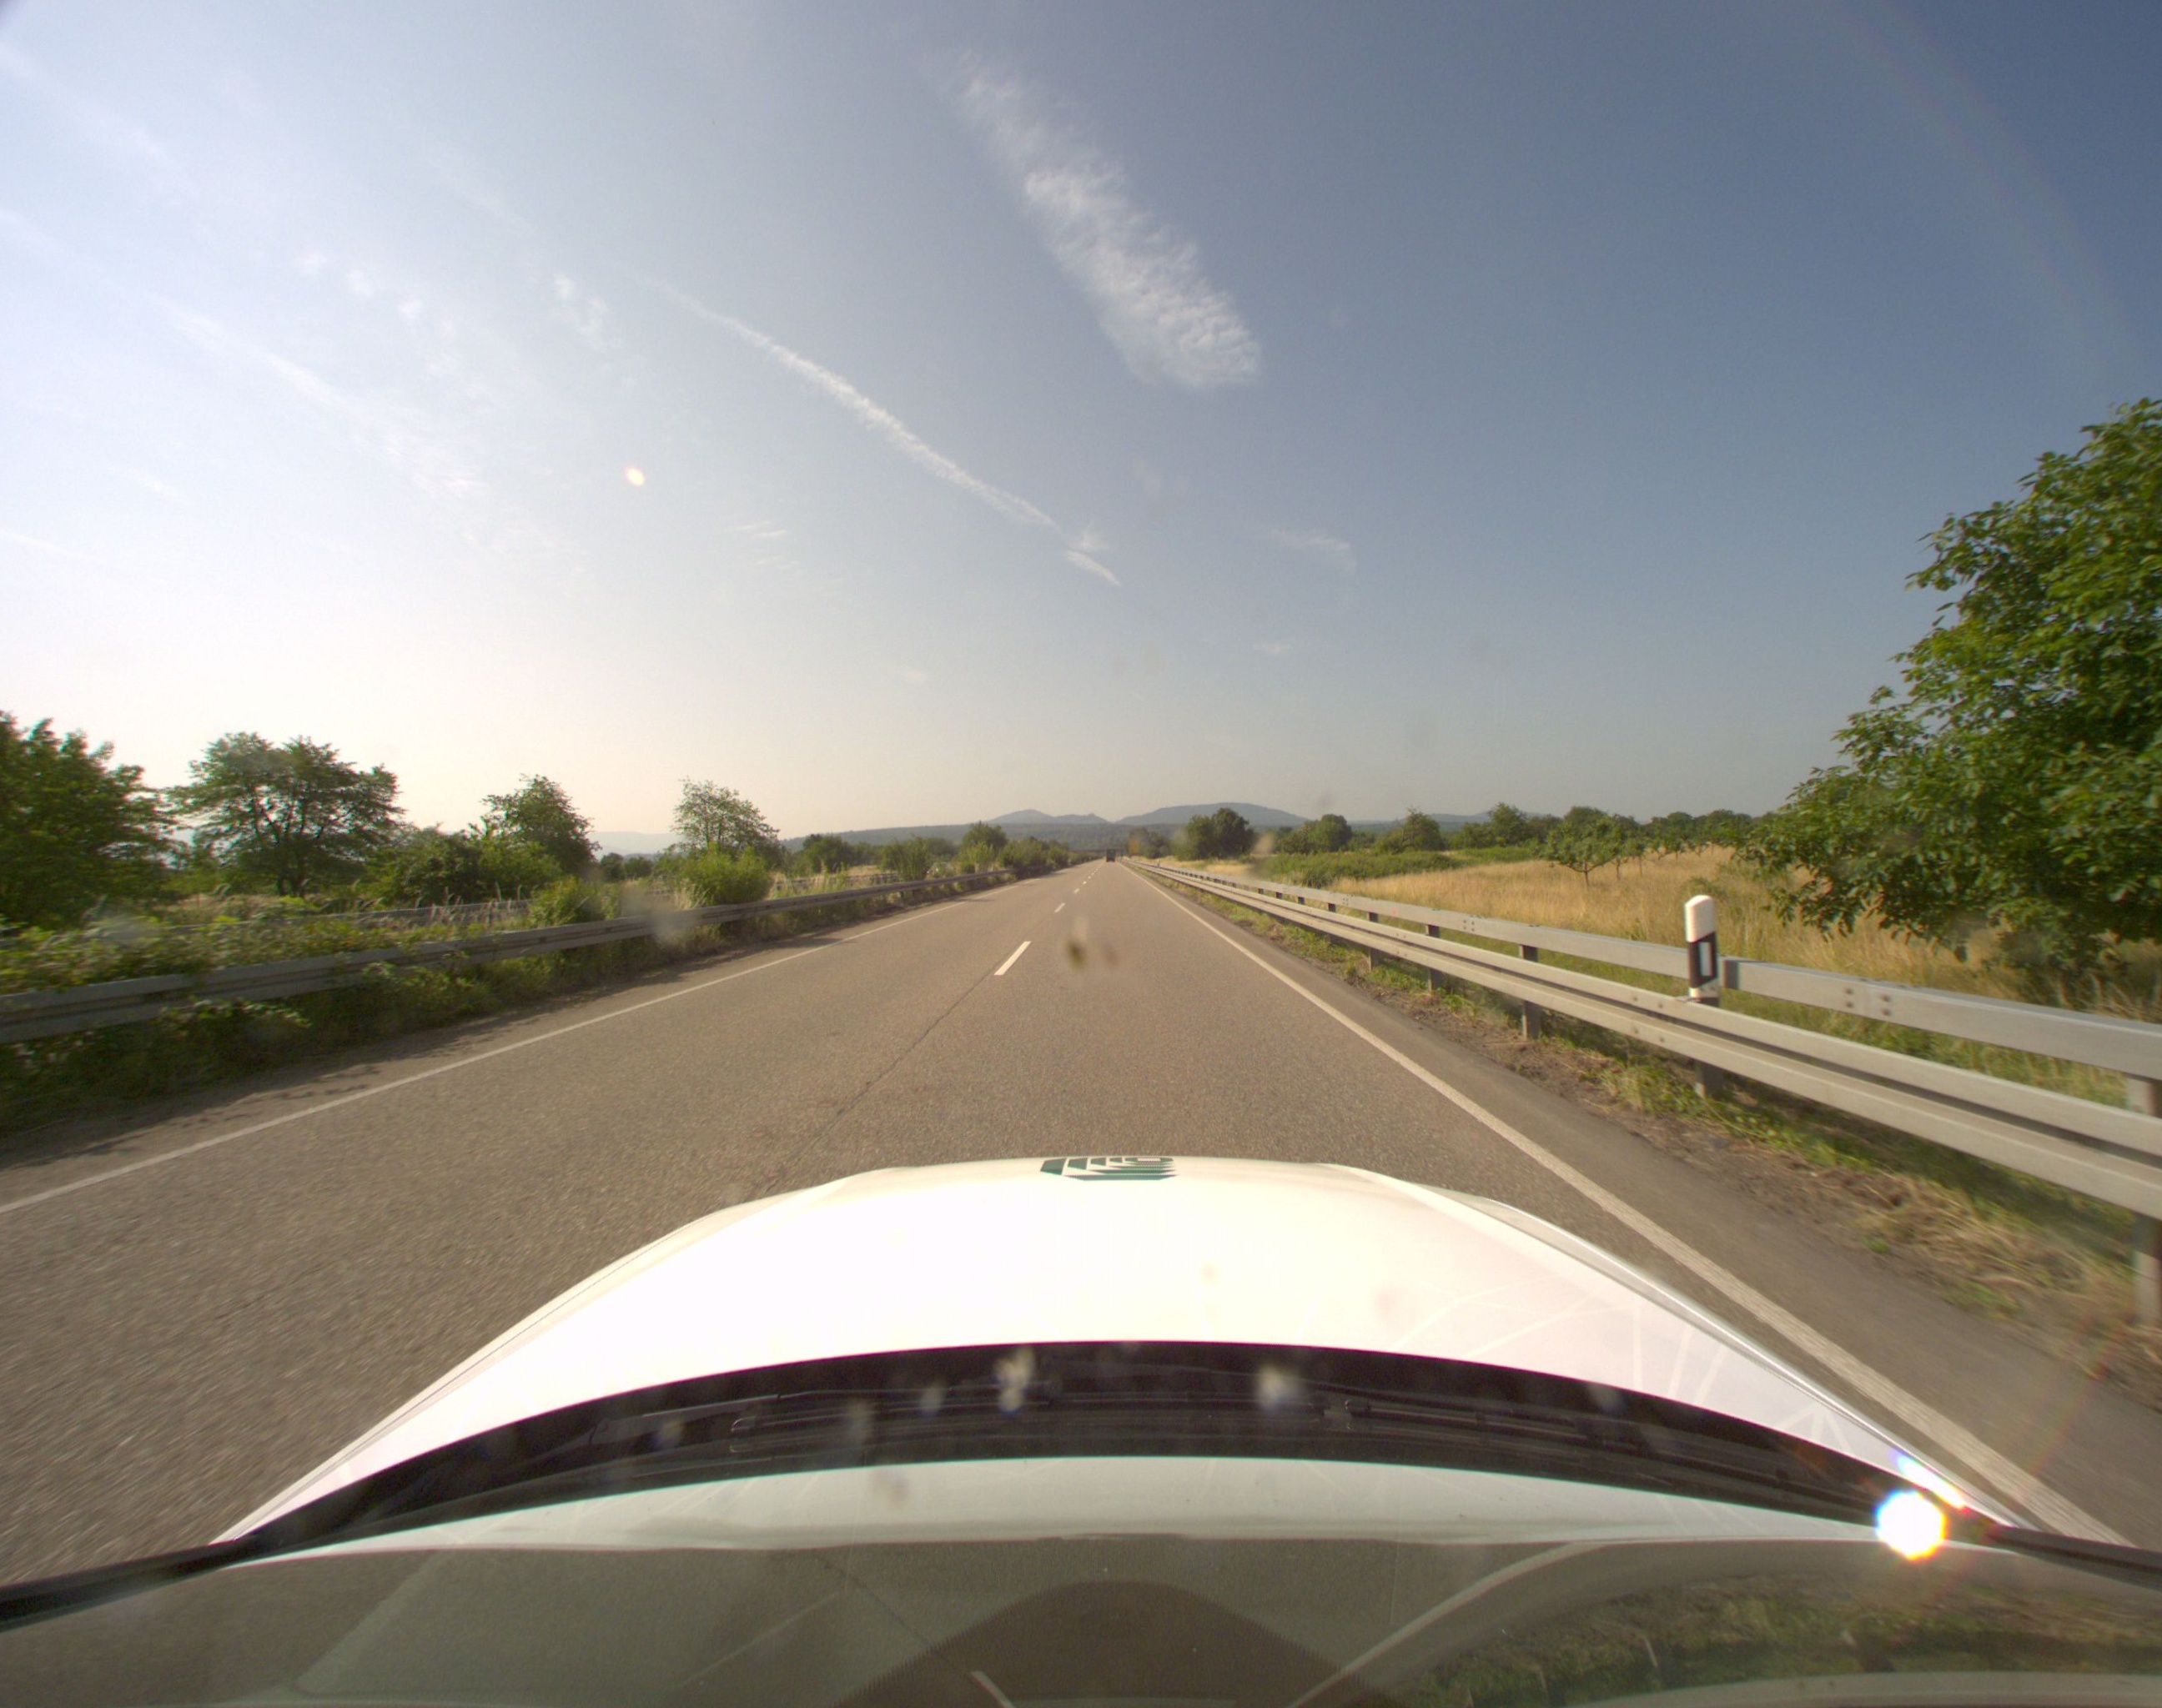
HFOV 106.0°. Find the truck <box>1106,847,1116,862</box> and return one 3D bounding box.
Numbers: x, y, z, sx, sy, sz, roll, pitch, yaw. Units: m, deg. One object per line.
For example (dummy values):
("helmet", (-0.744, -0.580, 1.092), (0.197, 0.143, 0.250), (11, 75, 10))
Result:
("truck", (8.547, 0.061, 228.533), (2.711, 3.965, 10.422), (0, 1, 2))
